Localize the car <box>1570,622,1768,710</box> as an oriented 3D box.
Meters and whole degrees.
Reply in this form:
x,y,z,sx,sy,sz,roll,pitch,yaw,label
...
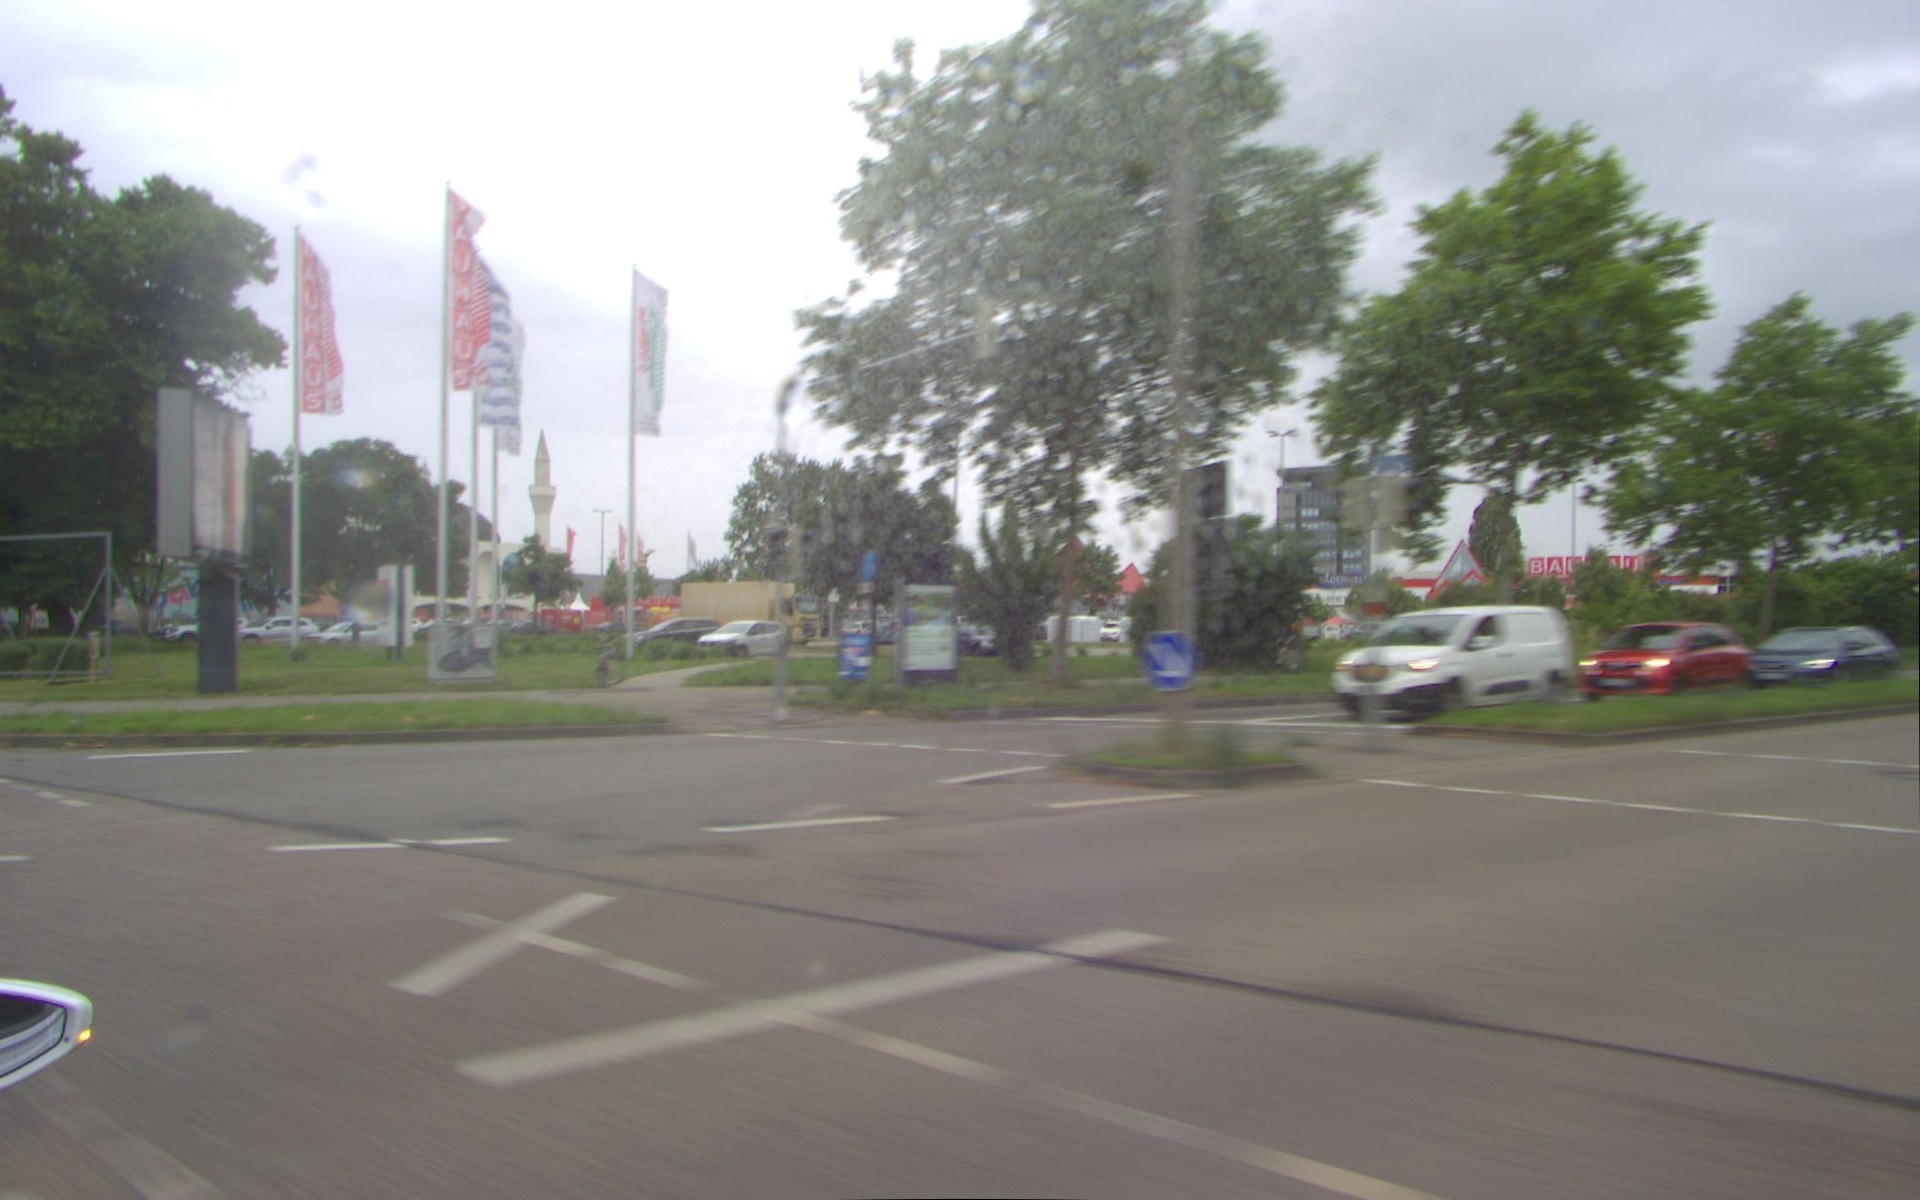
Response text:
x,y,z,sx,sy,sz,roll,pitch,yaw,label
13.694,1.212,19.328,3.634,1.551,1.689,1,-1,-28,car

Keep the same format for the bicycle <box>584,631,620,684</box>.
x,y,z,sx,sy,sz,roll,pitch,yaw,label
-8.015,1.268,22.467,0.479,1.132,1.806,0,-1,-10,bicycle

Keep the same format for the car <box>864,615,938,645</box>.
x,y,z,sx,sy,sz,roll,pitch,yaw,label
-3.148,1.605,54.466,1.957,1.526,4.550,-1,-1,28,car

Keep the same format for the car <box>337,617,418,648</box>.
x,y,z,sx,sy,sz,roll,pitch,yaw,label
-33.335,1.865,57.305,4.437,1.691,1.993,-1,-3,29,car

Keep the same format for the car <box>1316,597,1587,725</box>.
x,y,z,sx,sy,sz,roll,pitch,yaw,label
8.097,0.965,16.427,4.358,1.851,1.872,1,-3,-30,car

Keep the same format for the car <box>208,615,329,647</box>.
x,y,z,sx,sy,sz,roll,pitch,yaw,label
-35.562,1.639,51.615,2.136,1.515,4.678,-1,-4,26,car

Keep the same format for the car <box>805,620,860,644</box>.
x,y,z,sx,sy,sz,roll,pitch,yaw,label
-9.535,2.390,75.198,2.119,1.698,4.556,0,-1,23,car

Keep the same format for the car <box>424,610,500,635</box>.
x,y,z,sx,sy,sz,roll,pitch,yaw,label
-34.722,1.577,69.927,2.119,1.698,4.557,0,-1,22,car

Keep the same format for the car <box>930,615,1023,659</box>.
x,y,z,sx,sy,sz,roll,pitch,yaw,label
0.567,1.441,37.917,1.799,1.515,4.220,2,-4,-27,car

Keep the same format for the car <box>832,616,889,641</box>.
x,y,z,sx,sy,sz,roll,pitch,yaw,label
-6.809,1.947,69.209,2.118,1.698,4.558,0,-1,21,car

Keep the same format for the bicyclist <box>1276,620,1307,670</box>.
x,y,z,sx,sy,sz,roll,pitch,yaw,label
10.296,1.395,31.120,0.751,1.539,0.577,0,0,42,bicyclist

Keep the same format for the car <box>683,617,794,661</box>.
x,y,z,sx,sy,sz,roll,pitch,yaw,label
-8.164,1.490,37.329,1.899,1.515,4.226,-1,-3,24,car

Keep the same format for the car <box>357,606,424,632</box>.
x,y,z,sx,sy,sz,roll,pitch,yaw,label
-57.890,1.938,101.883,2.041,2.570,5.741,0,-1,27,car

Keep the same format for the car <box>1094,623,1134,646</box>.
x,y,z,sx,sy,sz,roll,pitch,yaw,label
12.123,2.685,78.550,2.119,1.698,4.557,0,-1,22,car

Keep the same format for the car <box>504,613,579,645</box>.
x,y,z,sx,sy,sz,roll,pitch,yaw,label
-28.279,1.955,67.751,2.119,2.077,4.557,0,-1,22,car

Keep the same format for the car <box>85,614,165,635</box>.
x,y,z,sx,sy,sz,roll,pitch,yaw,label
-67.103,1.961,80.528,2.041,1.592,4.552,-1,-1,27,car

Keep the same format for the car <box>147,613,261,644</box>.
x,y,z,sx,sy,sz,roll,pitch,yaw,label
-40.640,1.581,53.939,1.927,1.515,4.537,-1,-3,23,car

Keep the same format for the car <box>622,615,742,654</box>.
x,y,z,sx,sy,sz,roll,pitch,yaw,label
-11.883,1.505,42.893,4.556,1.515,1.919,3,-4,-35,car

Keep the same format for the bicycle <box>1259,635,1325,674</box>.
x,y,z,sx,sy,sz,roll,pitch,yaw,label
10.307,1.673,31.108,1.873,1.164,0.577,-1,-1,43,bicycle

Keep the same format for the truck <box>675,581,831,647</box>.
x,y,z,sx,sy,sz,roll,pitch,yaw,label
-12.210,0.898,58.745,9.104,3.608,2.940,-1,-3,27,truck

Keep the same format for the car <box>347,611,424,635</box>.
x,y,z,sx,sy,sz,roll,pitch,yaw,label
-42.111,1.673,73.530,2.119,1.698,4.557,0,-1,22,car

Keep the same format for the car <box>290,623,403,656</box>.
x,y,z,sx,sy,sz,roll,pitch,yaw,label
-29.910,1.948,48.981,1.899,1.515,4.450,-1,-3,23,car

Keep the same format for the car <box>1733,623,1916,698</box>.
x,y,z,sx,sy,sz,roll,pitch,yaw,label
18.715,1.250,21.664,4.005,1.501,1.689,1,-1,-28,car
